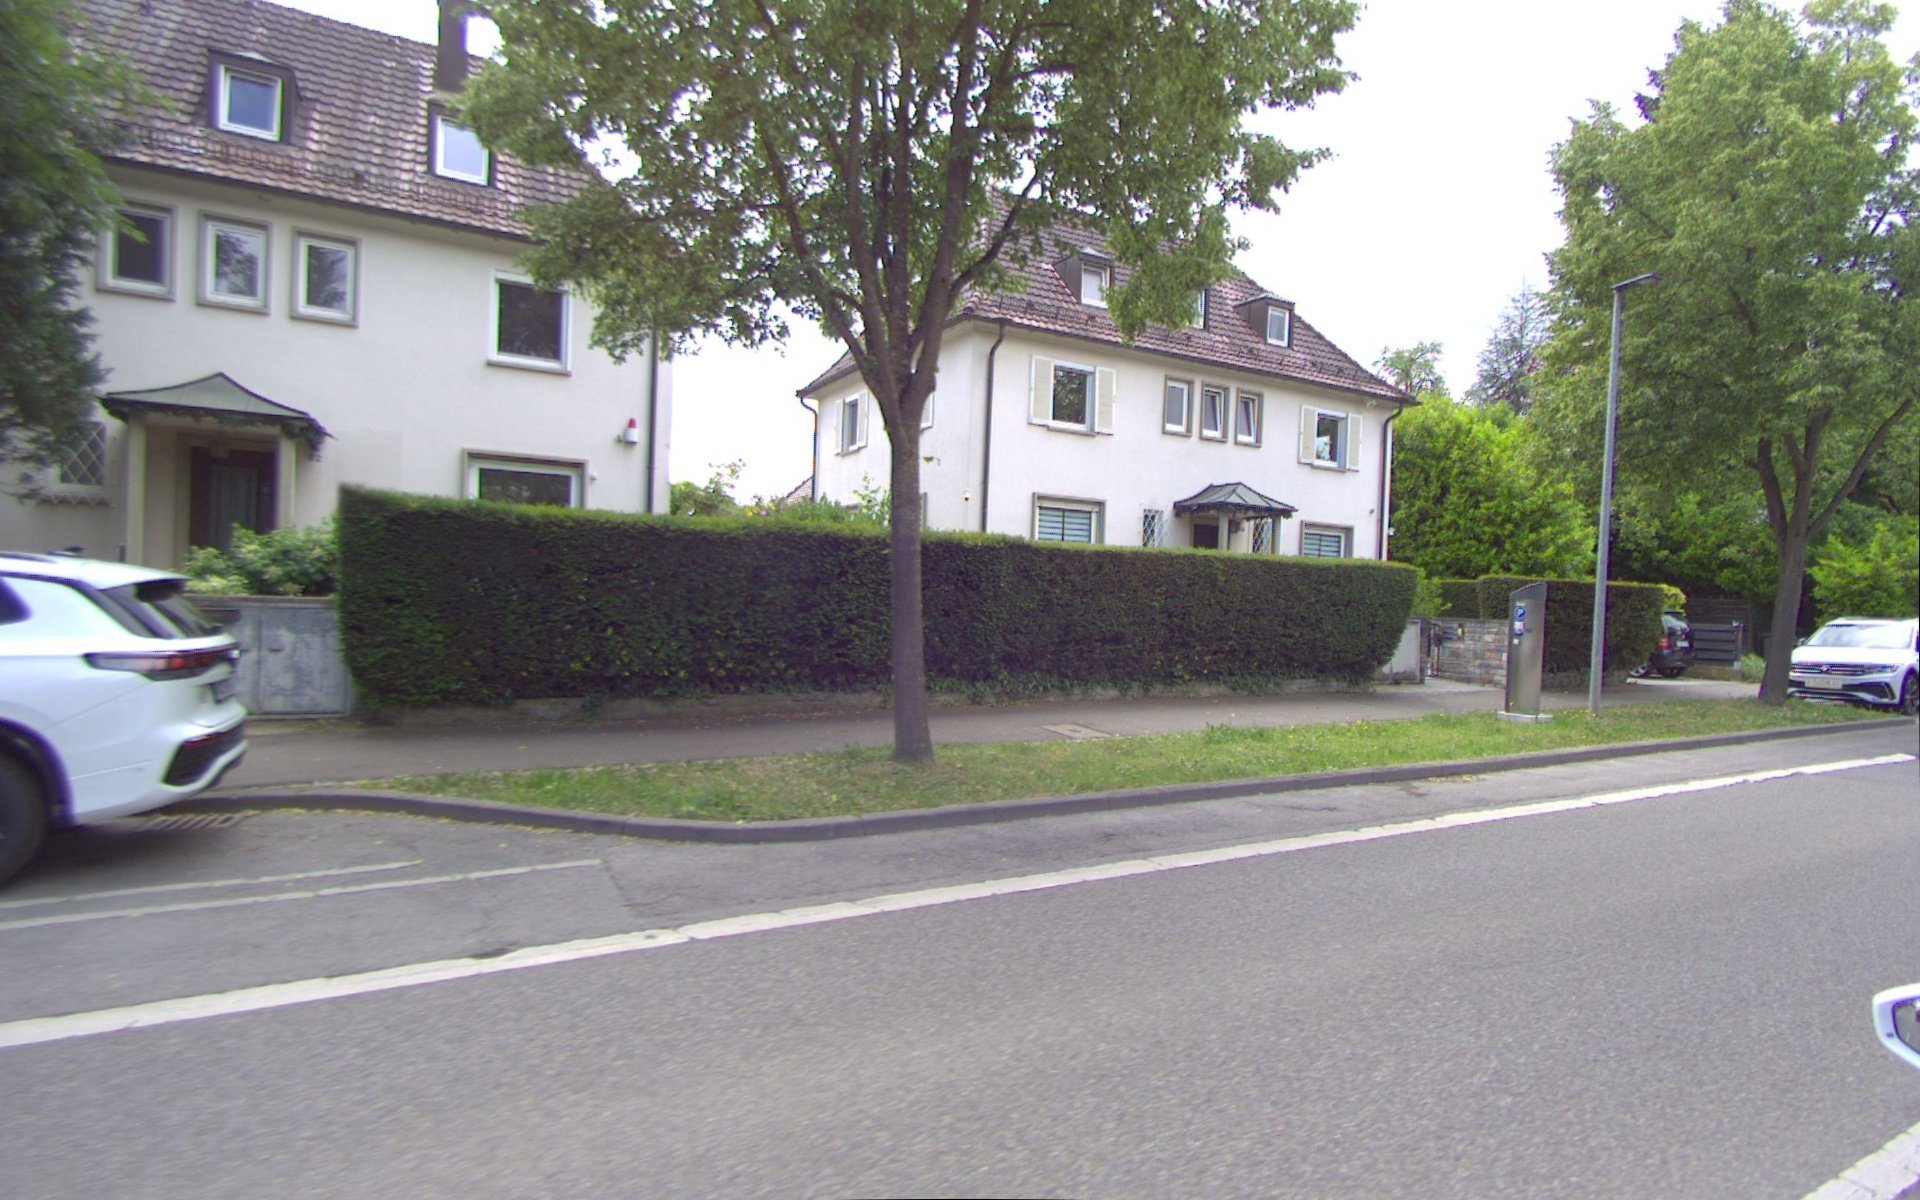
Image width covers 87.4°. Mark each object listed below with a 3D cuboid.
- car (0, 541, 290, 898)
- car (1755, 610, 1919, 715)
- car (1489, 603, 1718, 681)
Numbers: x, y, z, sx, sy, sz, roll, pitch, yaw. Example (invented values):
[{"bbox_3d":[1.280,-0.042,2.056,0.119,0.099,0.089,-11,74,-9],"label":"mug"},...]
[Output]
[{"bbox_3d":[-6.126,0.513,4.823,4.641,1.674,1.809,1,1,-29],"label":"car"},{"bbox_3d":[16.891,1.082,18.559,4.809,1.711,1.864,1,0,-31],"label":"car"},{"bbox_3d":[14.827,0.916,23.392,1.744,1.606,4.178,1,0,-30],"label":"car"}]
